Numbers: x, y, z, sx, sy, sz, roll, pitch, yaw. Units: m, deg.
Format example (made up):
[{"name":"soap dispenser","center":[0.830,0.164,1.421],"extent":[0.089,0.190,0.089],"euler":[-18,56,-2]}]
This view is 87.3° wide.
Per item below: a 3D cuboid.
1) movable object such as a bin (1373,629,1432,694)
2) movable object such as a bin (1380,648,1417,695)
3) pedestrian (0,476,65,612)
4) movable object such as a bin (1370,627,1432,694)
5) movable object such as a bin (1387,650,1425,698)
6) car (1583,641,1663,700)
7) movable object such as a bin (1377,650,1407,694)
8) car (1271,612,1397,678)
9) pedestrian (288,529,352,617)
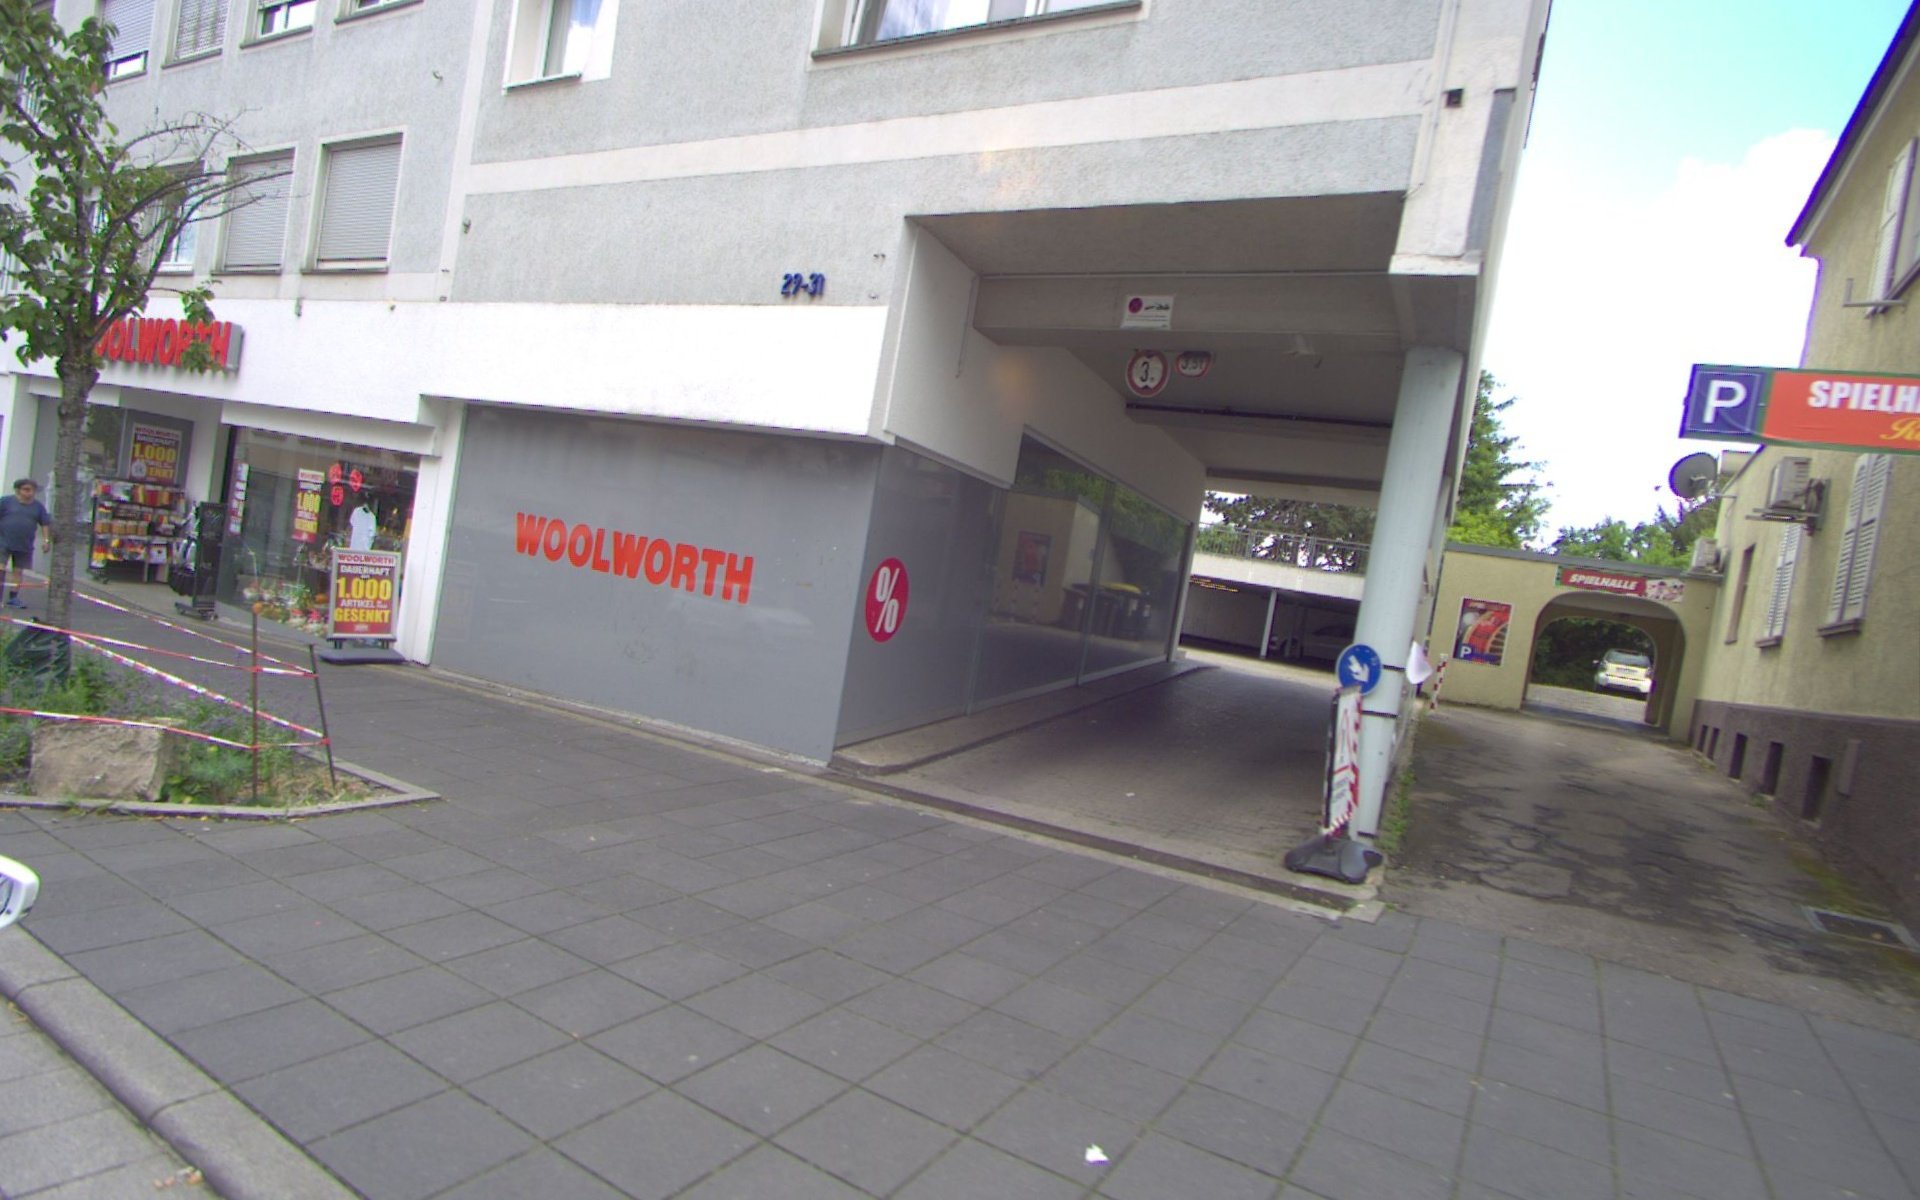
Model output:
[{"name":"movable object such as a bin","center":[10.206,1.403,23.182],"extent":[1.014,1.330,0.899],"euler":[7,2,31]},{"name":"movable object such as a bin","center":[8.844,1.427,20.292],"extent":[0.537,0.872,0.431],"euler":[7,2,31]},{"name":"pedestrian","center":[-11.581,-0.701,12.201],"extent":[0.803,1.580,0.757],"euler":[7,1,29]},{"name":"movable object such as a bin","center":[9.736,1.313,22.195],"extent":[1.014,1.330,0.899],"euler":[7,2,31]},{"name":"movable object such as a bin","center":[8.734,1.442,19.710],"extent":[0.537,0.872,0.511],"euler":[7,2,31]},{"name":"car","center":[22.139,2.299,33.717],"extent":[1.893,1.544,3.969],"euler":[7,3,31]},{"name":"movable object such as a bin","center":[9.203,1.531,21.409],"extent":[0.453,0.872,0.372],"euler":[7,3,31]},{"name":"car","center":[14.151,1.646,38.080],"extent":[4.160,1.723,1.811],"euler":[10,4,23]},{"name":"pedestrian","center":[-9.883,-0.414,15.534],"extent":[0.578,1.281,0.505],"euler":[6,1,27]}]
